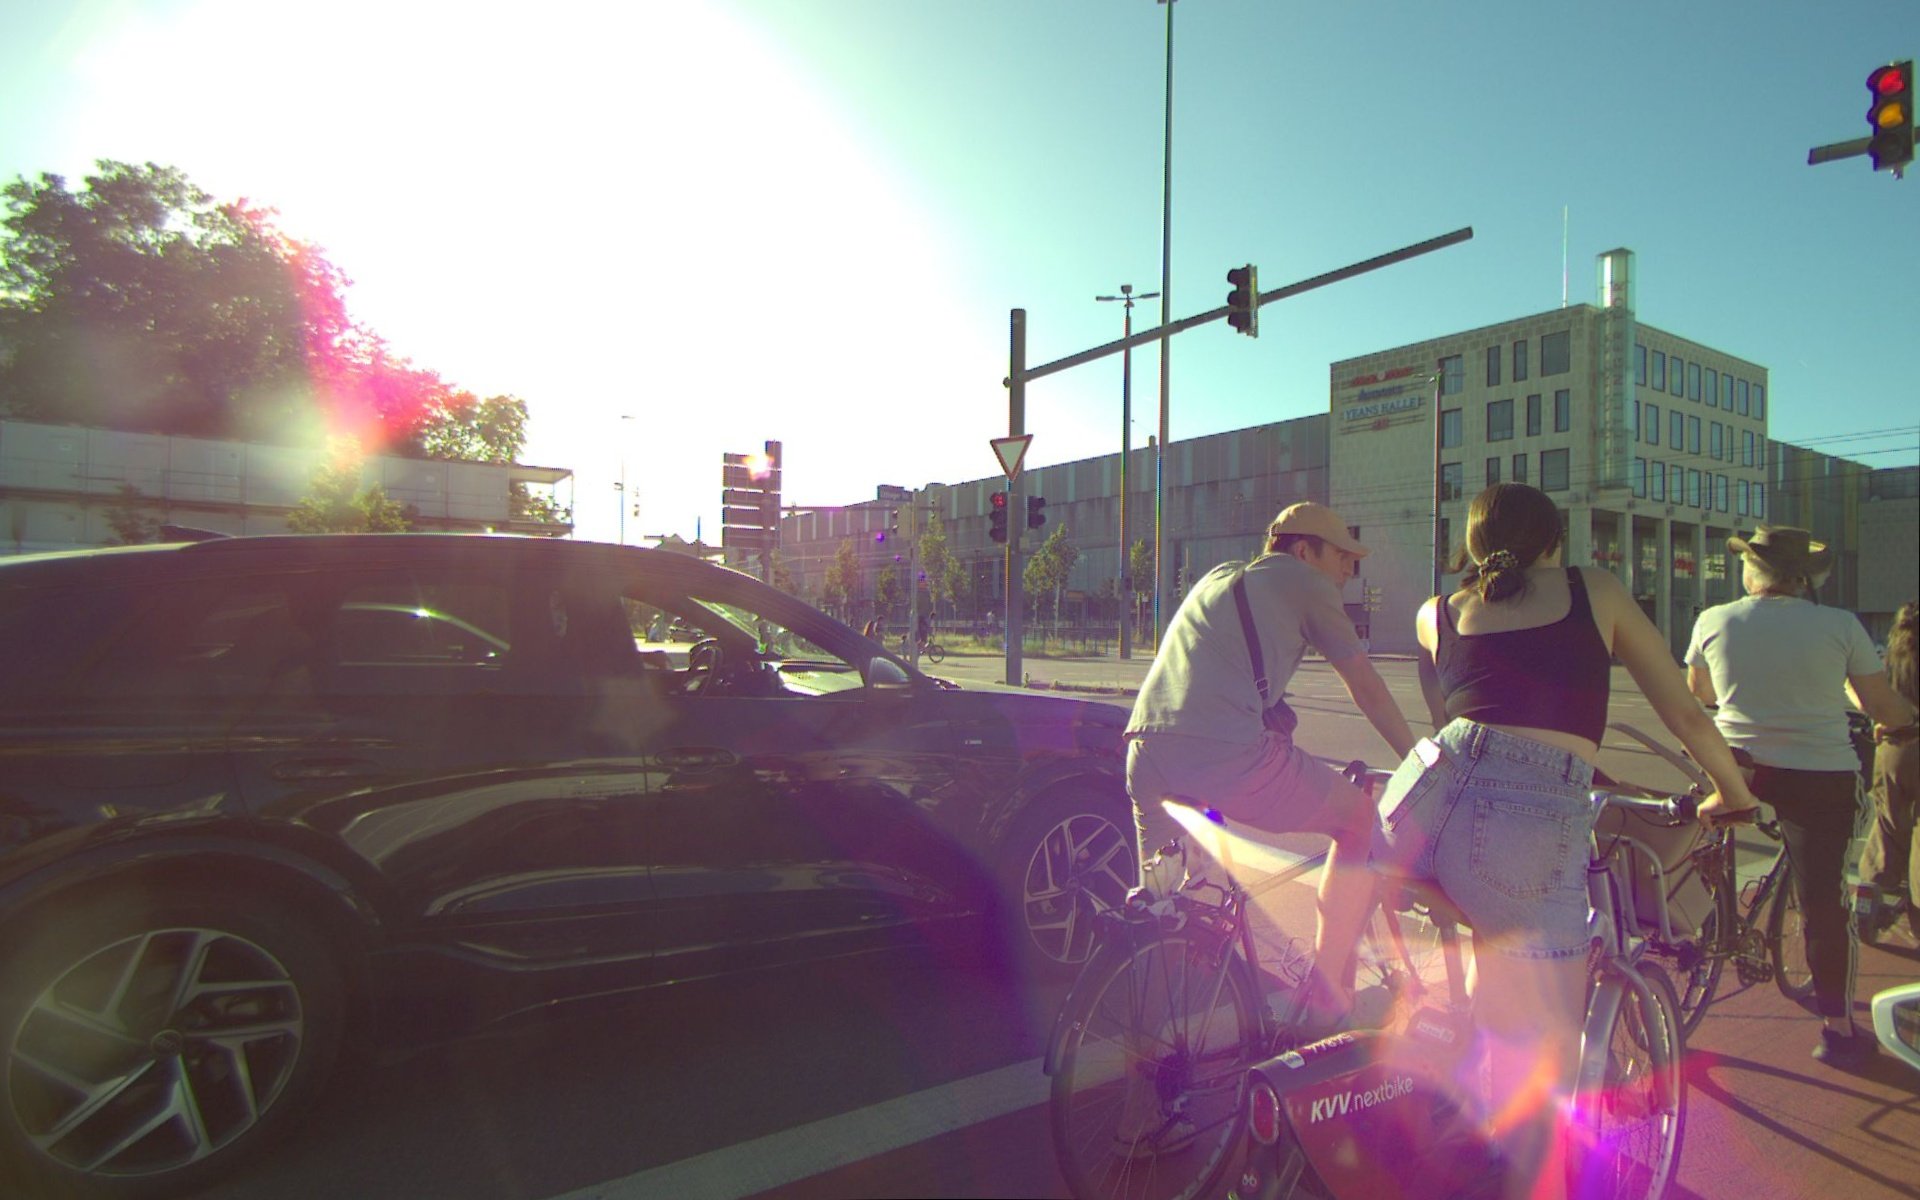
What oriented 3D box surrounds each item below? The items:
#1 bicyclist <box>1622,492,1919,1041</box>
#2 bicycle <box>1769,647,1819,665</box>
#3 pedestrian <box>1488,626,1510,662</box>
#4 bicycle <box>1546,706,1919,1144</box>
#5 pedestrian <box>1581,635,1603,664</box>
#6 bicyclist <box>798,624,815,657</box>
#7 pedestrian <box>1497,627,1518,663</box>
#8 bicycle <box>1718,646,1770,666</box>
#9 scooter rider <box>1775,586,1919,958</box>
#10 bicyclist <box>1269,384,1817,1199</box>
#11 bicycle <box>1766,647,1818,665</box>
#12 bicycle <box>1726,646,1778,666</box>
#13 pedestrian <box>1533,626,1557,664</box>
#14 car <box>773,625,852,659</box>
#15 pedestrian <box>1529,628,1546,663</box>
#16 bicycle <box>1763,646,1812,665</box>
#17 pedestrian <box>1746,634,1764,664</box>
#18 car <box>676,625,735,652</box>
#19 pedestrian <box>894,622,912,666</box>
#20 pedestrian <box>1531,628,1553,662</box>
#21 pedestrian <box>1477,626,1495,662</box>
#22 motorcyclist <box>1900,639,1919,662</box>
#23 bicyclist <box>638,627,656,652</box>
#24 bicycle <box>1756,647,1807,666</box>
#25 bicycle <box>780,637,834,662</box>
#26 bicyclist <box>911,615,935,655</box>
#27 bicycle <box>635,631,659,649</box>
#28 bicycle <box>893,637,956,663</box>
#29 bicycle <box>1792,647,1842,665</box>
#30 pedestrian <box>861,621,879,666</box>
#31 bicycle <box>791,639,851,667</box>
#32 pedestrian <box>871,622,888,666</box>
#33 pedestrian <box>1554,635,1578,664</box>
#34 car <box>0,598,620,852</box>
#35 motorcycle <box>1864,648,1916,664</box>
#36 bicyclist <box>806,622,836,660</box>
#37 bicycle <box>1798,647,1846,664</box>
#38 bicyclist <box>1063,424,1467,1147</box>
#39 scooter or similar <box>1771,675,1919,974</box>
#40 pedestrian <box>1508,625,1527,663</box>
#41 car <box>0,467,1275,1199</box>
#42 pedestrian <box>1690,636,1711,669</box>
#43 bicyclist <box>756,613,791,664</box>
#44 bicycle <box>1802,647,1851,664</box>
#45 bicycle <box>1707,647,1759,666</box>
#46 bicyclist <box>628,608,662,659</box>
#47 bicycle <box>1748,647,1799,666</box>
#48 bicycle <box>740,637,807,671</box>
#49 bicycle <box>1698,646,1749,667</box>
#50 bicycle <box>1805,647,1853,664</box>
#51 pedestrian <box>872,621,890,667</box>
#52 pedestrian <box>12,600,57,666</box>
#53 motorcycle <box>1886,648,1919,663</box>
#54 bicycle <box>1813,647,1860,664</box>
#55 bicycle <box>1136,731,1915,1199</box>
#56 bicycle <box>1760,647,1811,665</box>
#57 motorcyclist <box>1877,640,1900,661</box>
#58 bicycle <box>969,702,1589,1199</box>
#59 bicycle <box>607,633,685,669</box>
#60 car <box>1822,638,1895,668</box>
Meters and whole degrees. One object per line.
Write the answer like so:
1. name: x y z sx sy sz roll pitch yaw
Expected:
1. bicyclist: 2.948 0.525 3.608 0.777 1.691 0.695 1 -1 -32
2. bicycle: 55.451 3.684 66.808 0.824 1.125 2.458 1 -2 -28
3. pedestrian: 32.155 2.612 59.946 0.940 2.152 0.887 2 -1 -44
4. bicycle: 2.925 0.987 3.582 1.780 1.108 0.703 1 -1 -32
5. pedestrian: 35.542 2.800 56.495 0.927 1.592 0.841 1 -1 21
6. bicyclist: -6.044 1.592 39.513 0.627 1.287 0.803 0 0 -14
7. pedestrian: 33.097 2.699 60.744 0.941 2.152 0.886 2 -1 -45
8. bicycle: 48.005 3.435 61.518 0.675 1.125 2.459 1 -2 -27
9. scooter rider: 4.414 0.735 4.682 1.105 1.564 0.638 1 0 -33
10. bicyclist: 1.175 0.458 2.057 0.837 1.563 0.647 1 -1 -31
11. bicycle: 53.889 3.620 65.094 0.824 1.125 2.458 1 -2 -28
12. bicycle: 48.738 3.446 61.843 0.675 1.125 2.458 1 -2 -28
13. pedestrian: 33.847 2.600 58.114 1.043 2.157 1.097 1 -1 25
14. car: -6.602 1.832 44.589 1.980 1.394 3.962 0 -1 -34
15. pedestrian: 34.320 2.694 59.700 0.901 2.040 1.022 0 -1 30
16. bicycle: 54.433 3.650 66.095 0.675 1.125 2.458 1 -2 -28
17. pedestrian: 56.080 3.445 70.851 0.933 2.008 1.004 0 -1 36
18. car: -14.259 2.126 56.145 1.980 1.394 3.962 0 -1 -34
19. pedestrian: -2.043 1.568 35.958 0.446 1.587 0.516 1 -1 -30
20. pedestrian: 36.045 2.775 62.164 1.016 2.040 0.906 2 -1 -42
21. pedestrian: 32.192 2.675 61.482 0.883 2.152 0.944 0 -1 34
22. motorcyclist: 70.715 3.739 74.633 0.908 1.596 1.129 2 0 -37
23. bicyclist: -16.965 2.154 54.401 0.796 1.315 0.770 0 0 -31
24. bicycle: 52.554 3.585 64.280 0.675 1.125 2.458 1 -2 -28
25. bicycle: -6.026 1.939 39.503 2.042 0.939 0.803 0 0 -14
26. bicyclist: -1.427 1.329 38.237 0.611 1.525 0.749 1 -1 -34
27. bicycle: -16.959 2.154 54.393 0.796 0.939 2.060 0 -1 -31
28. bicycle: -1.344 1.909 38.292 2.370 0.953 0.749 1 -1 -34
29. bicycle: 58.340 3.784 68.413 0.824 1.125 2.458 1 -2 -28
30. pedestrian: -3.181 1.528 35.348 0.446 1.587 0.516 1 -1 -30
31. bicycle: -5.114 1.931 36.936 2.054 0.939 0.798 0 -1 -32
32. pedestrian: -2.925 1.588 36.562 0.446 1.587 0.516 1 -1 -30
33. pedestrian: 35.362 2.882 58.636 0.987 1.672 0.949 1 -1 17
34. car: -4.799 0.712 6.758 4.476 1.370 1.761 2 -1 -32
35. motorcycle: 67.660 4.070 73.070 0.908 1.009 2.649 2 0 -36
36. bicyclist: -5.119 1.488 36.939 0.832 1.375 0.799 0 0 -32
37. bicycle: 59.025 3.797 68.822 0.652 1.125 2.458 1 -2 -28
38. bicyclist: 0.822 0.422 2.723 0.884 1.596 0.620 1 -1 -31
39. scooter or similar: 4.554 0.991 4.793 1.468 1.191 0.638 1 0 -33
40. pedestrian: 32.461 2.565 58.493 0.881 2.152 0.946 0 -1 23
41. car: -1.167 0.607 4.099 4.740 1.684 2.182 2 -1 -33
42. pedestrian: 40.871 2.906 55.441 0.748 1.763 0.746 1 -1 -32
43. bicyclist: -5.821 1.190 31.325 0.929 1.565 0.644 1 -1 -27
44. bicycle: 59.637 3.823 69.151 0.652 1.125 2.458 1 -2 -28
45. bicycle: 46.824 3.410 60.867 0.676 1.125 2.457 1 -2 -29
46. bicyclist: -8.953 0.945 28.572 0.828 1.420 0.804 0 0 -12
47. bicycle: 51.517 3.550 63.654 0.586 1.125 2.458 1 -2 -28
48. bicycle: -5.814 1.662 31.316 1.953 1.010 0.644 1 -1 -28
49. bicycle: 45.692 3.370 60.167 0.650 1.127 2.391 1 -2 -29
50. bicycle: 60.151 3.851 69.582 0.623 1.125 2.458 1 -2 -28
51. pedestrian: -2.740 1.536 34.917 0.446 1.587 0.516 1 -1 -30
52. pedestrian: -24.200 0.859 26.274 0.646 1.702 0.834 1 -1 -30
53. motorcycle: 70.680 4.170 74.647 0.908 1.009 2.649 2 0 -36
54. bicycle: 61.249 3.874 70.218 0.652 1.125 2.458 1 -2 -28
55. bicycle: 1.260 0.901 2.110 1.780 1.108 0.647 1 -1 -32
56. bicycle: 53.182 3.599 64.727 0.675 1.125 2.458 1 -2 -28
57. motorcyclist: 67.614 3.665 73.130 0.908 1.490 1.029 2 0 -37
58. bicycle: 0.949 0.897 2.787 1.795 1.131 0.620 1 -1 -31
59. bicycle: -8.913 1.439 28.577 2.041 0.991 0.804 0 0 -13
60. car: 49.833 2.903 55.678 4.247 1.602 1.927 1 -2 -32
